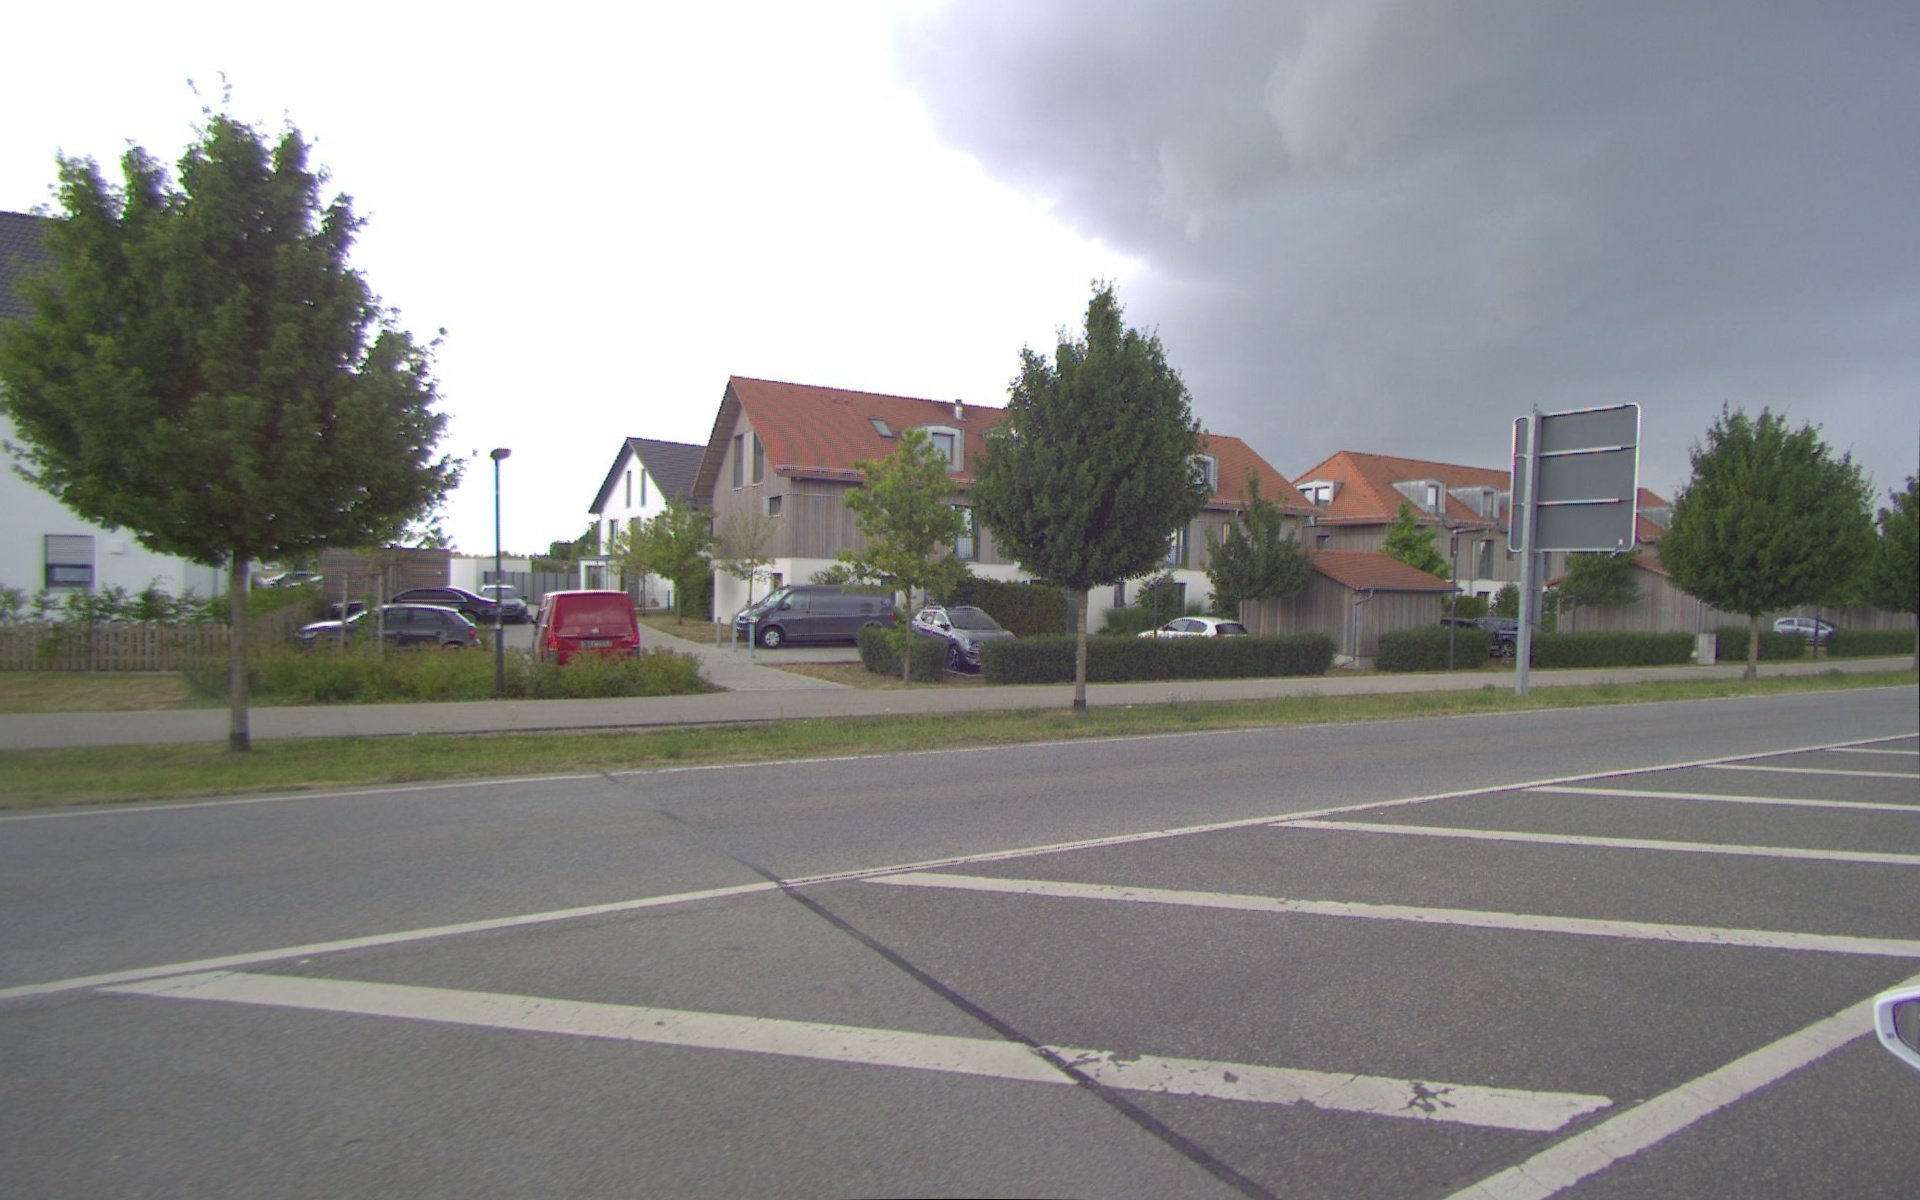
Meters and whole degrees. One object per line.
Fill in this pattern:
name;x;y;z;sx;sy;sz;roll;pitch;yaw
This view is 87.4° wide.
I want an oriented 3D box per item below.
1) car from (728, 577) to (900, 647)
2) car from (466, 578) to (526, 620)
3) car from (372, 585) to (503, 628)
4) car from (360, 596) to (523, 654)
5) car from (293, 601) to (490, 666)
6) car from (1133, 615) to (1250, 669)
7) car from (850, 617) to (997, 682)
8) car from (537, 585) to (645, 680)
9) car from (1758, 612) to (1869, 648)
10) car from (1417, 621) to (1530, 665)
car;-4.721;0.375;32.554;5.134;2.041;1.985;1;4;-28
car;-18.521;-0.030;40.040;1.975;1.607;3.971;1;0;-28
car;-18.176;0.234;34.995;3.953;1.439;1.866;1;0;-30
car;-14.567;0.667;28.309;3.953;1.528;1.984;1;0;-30
car;-13.530;0.767;24.075;3.953;1.439;1.866;1;0;-30
car;7.087;1.244;31.033;1.545;1.509;3.498;1;0;-30
car;-1.087;1.230;26.396;1.883;1.449;4.884;1;0;-28
car;-8.214;0.644;22.064;1.880;1.840;4.892;1;0;-24
car;45.154;1.572;53.222;1.975;1.577;3.969;1;3;-28
car;19.012;1.555;37.322;1.545;1.509;3.498;1;0;-30
